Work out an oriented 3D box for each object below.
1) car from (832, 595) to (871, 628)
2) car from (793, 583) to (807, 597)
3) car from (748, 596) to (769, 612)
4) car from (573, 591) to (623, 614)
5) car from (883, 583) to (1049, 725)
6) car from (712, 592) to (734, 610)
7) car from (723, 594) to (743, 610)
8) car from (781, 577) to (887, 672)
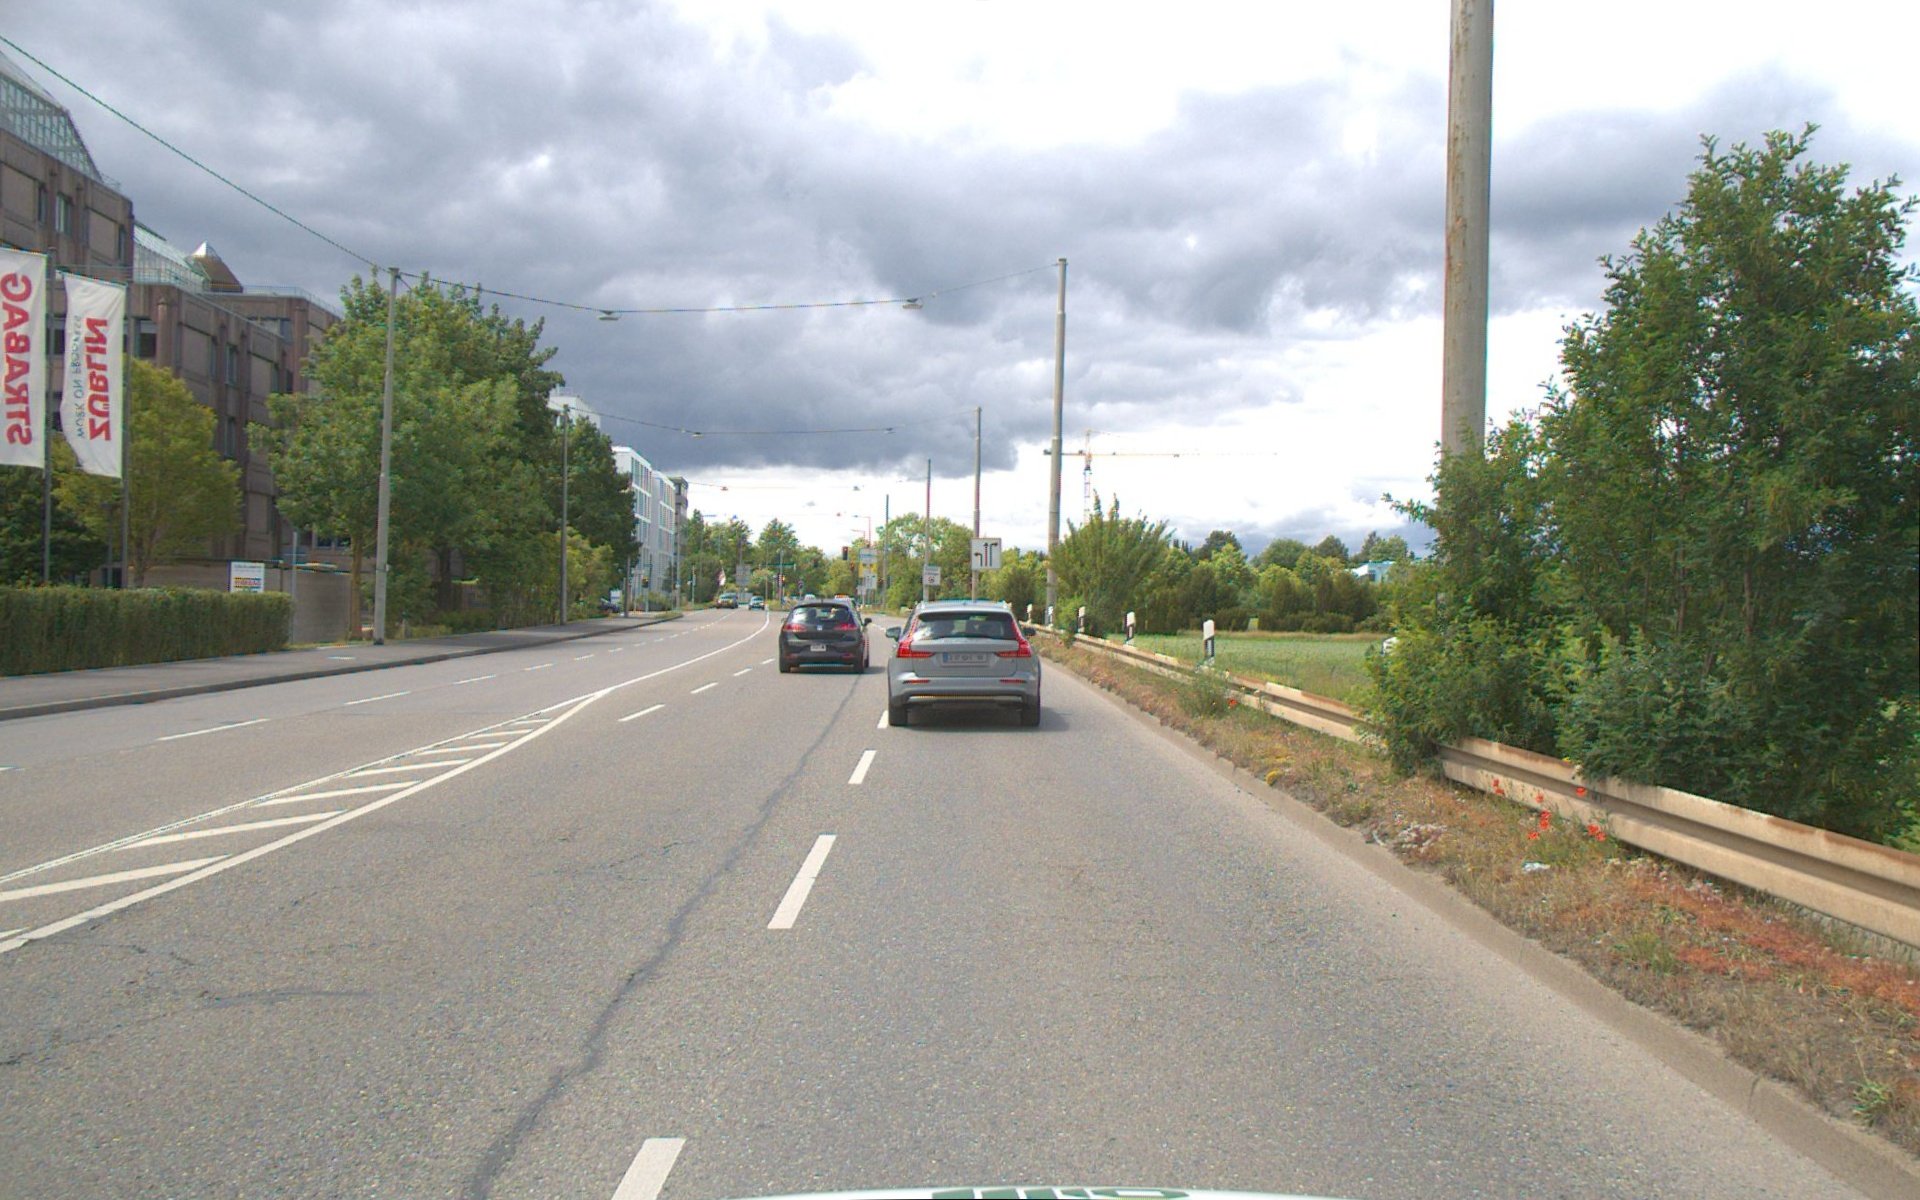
[{"bbox_3d":[-6.108,0.681,93.582,1.953,1.724,3.999,3,-1,-1],"label":"car"},{"bbox_3d":[-22.557,-1.397,233.189,1.911,1.780,4.383,3,-1,-5],"label":"car"},{"bbox_3d":[-21.464,0.398,176.455,1.844,1.547,3.998,3,-1,-2],"label":"car"},{"bbox_3d":[-31.614,0.258,144.630,3.907,1.752,1.999,3,-1,-2],"label":"car"},{"bbox_3d":[0.092,0.645,20.756,1.856,1.581,4.000,1,-1,1],"label":"car"},{"bbox_3d":[-25.562,0.094,178.232,1.844,1.747,3.998,3,-1,-2],"label":"car"},{"bbox_3d":[-26.682,0.284,194.085,1.844,1.747,3.998,3,-1,-2],"label":"car"},{"bbox_3d":[-2.540,0.506,34.175,1.954,1.747,3.998,3,-1,-3],"label":"car"}]
